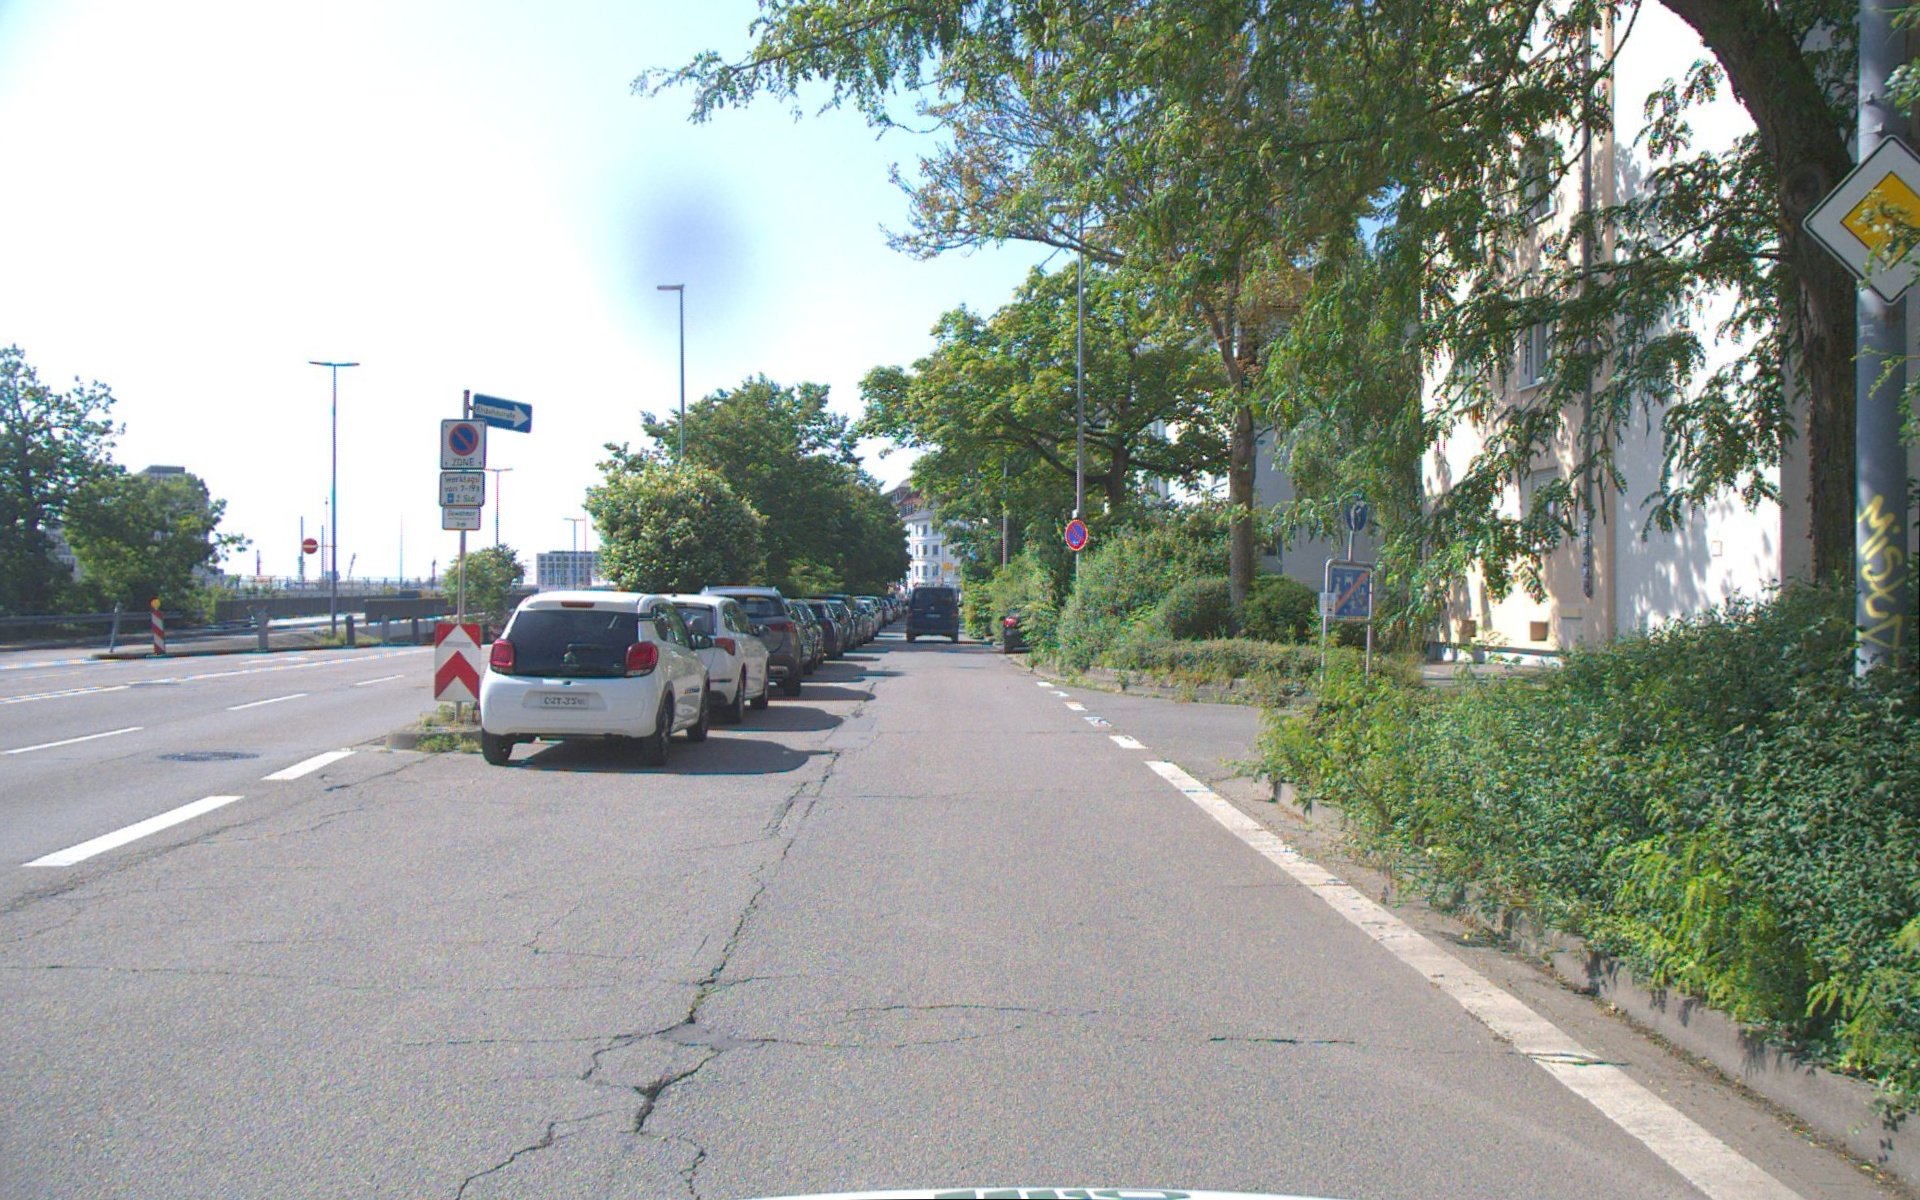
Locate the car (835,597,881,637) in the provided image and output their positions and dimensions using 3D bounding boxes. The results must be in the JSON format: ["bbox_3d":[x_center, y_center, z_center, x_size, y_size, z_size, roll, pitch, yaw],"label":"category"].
[{"bbox_3d":[-4.158,0.657,67.852,1.630,1.494,4.200,2,1,-1],"label":"car"}]

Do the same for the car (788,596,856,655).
[{"bbox_3d":[-3.925,0.698,47.402,1.630,1.538,3.789,2,1,-1],"label":"car"}]

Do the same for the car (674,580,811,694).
[{"bbox_3d":[-3.304,0.504,25.779,1.736,1.607,4.184,-1,1,-3],"label":"car"}]

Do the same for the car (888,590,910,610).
[{"bbox_3d":[-4.718,-0.007,128.201,1.630,1.536,4.008,0,0,-1],"label":"car"}]

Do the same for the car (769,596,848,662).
[{"bbox_3d":[-3.750,0.689,41.466,1.630,1.499,3.789,2,1,-1],"label":"car"}]

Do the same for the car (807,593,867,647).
[{"bbox_3d":[-3.835,0.593,52.074,1.630,1.611,3.931,0,0,-1],"label":"car"}]

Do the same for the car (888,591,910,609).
[{"bbox_3d":[-5.661,0.009,153.635,1.953,1.686,3.999,0,0,-2],"label":"car"}]

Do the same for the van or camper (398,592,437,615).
[{"bbox_3d":[-33.903,0.219,103.471,1.439,1.373,4.623,0,1,-7],"label":"van or camper"}]

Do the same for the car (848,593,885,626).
[{"bbox_3d":[-4.751,0.473,84.210,1.630,1.536,4.008,2,1,-1],"label":"car"}]

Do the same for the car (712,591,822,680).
[{"bbox_3d":[-3.610,0.615,31.441,1.630,1.500,3.876,2,1,-1],"label":"car"}]

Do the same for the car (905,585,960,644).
[{"bbox_3d":[-0.962,0.472,59.149,1.844,1.955,4.008,2,1,-1],"label":"car"}]

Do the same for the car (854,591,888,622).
[{"bbox_3d":[-4.790,0.341,89.321,1.630,1.536,4.008,2,1,-1],"label":"car"}]

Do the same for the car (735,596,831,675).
[{"bbox_3d":[-3.841,0.730,36.569,1.630,1.538,4.593,2,1,-1],"label":"car"}]

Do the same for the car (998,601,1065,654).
[{"bbox_3d":[2.054,0.773,48.743,1.691,1.445,3.999,-1,0,-1],"label":"car"}]

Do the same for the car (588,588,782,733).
[{"bbox_3d":[-3.252,0.652,20.297,1.686,1.531,4.132,2,1,-1],"label":"car"}]

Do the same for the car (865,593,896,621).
[{"bbox_3d":[-4.807,0.412,100.412,1.630,1.536,4.008,2,1,-1],"label":"car"}]

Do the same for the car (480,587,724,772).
[{"bbox_3d":[-3.268,0.662,15.706,1.586,1.531,3.461,1,1,-1],"label":"car"}]
